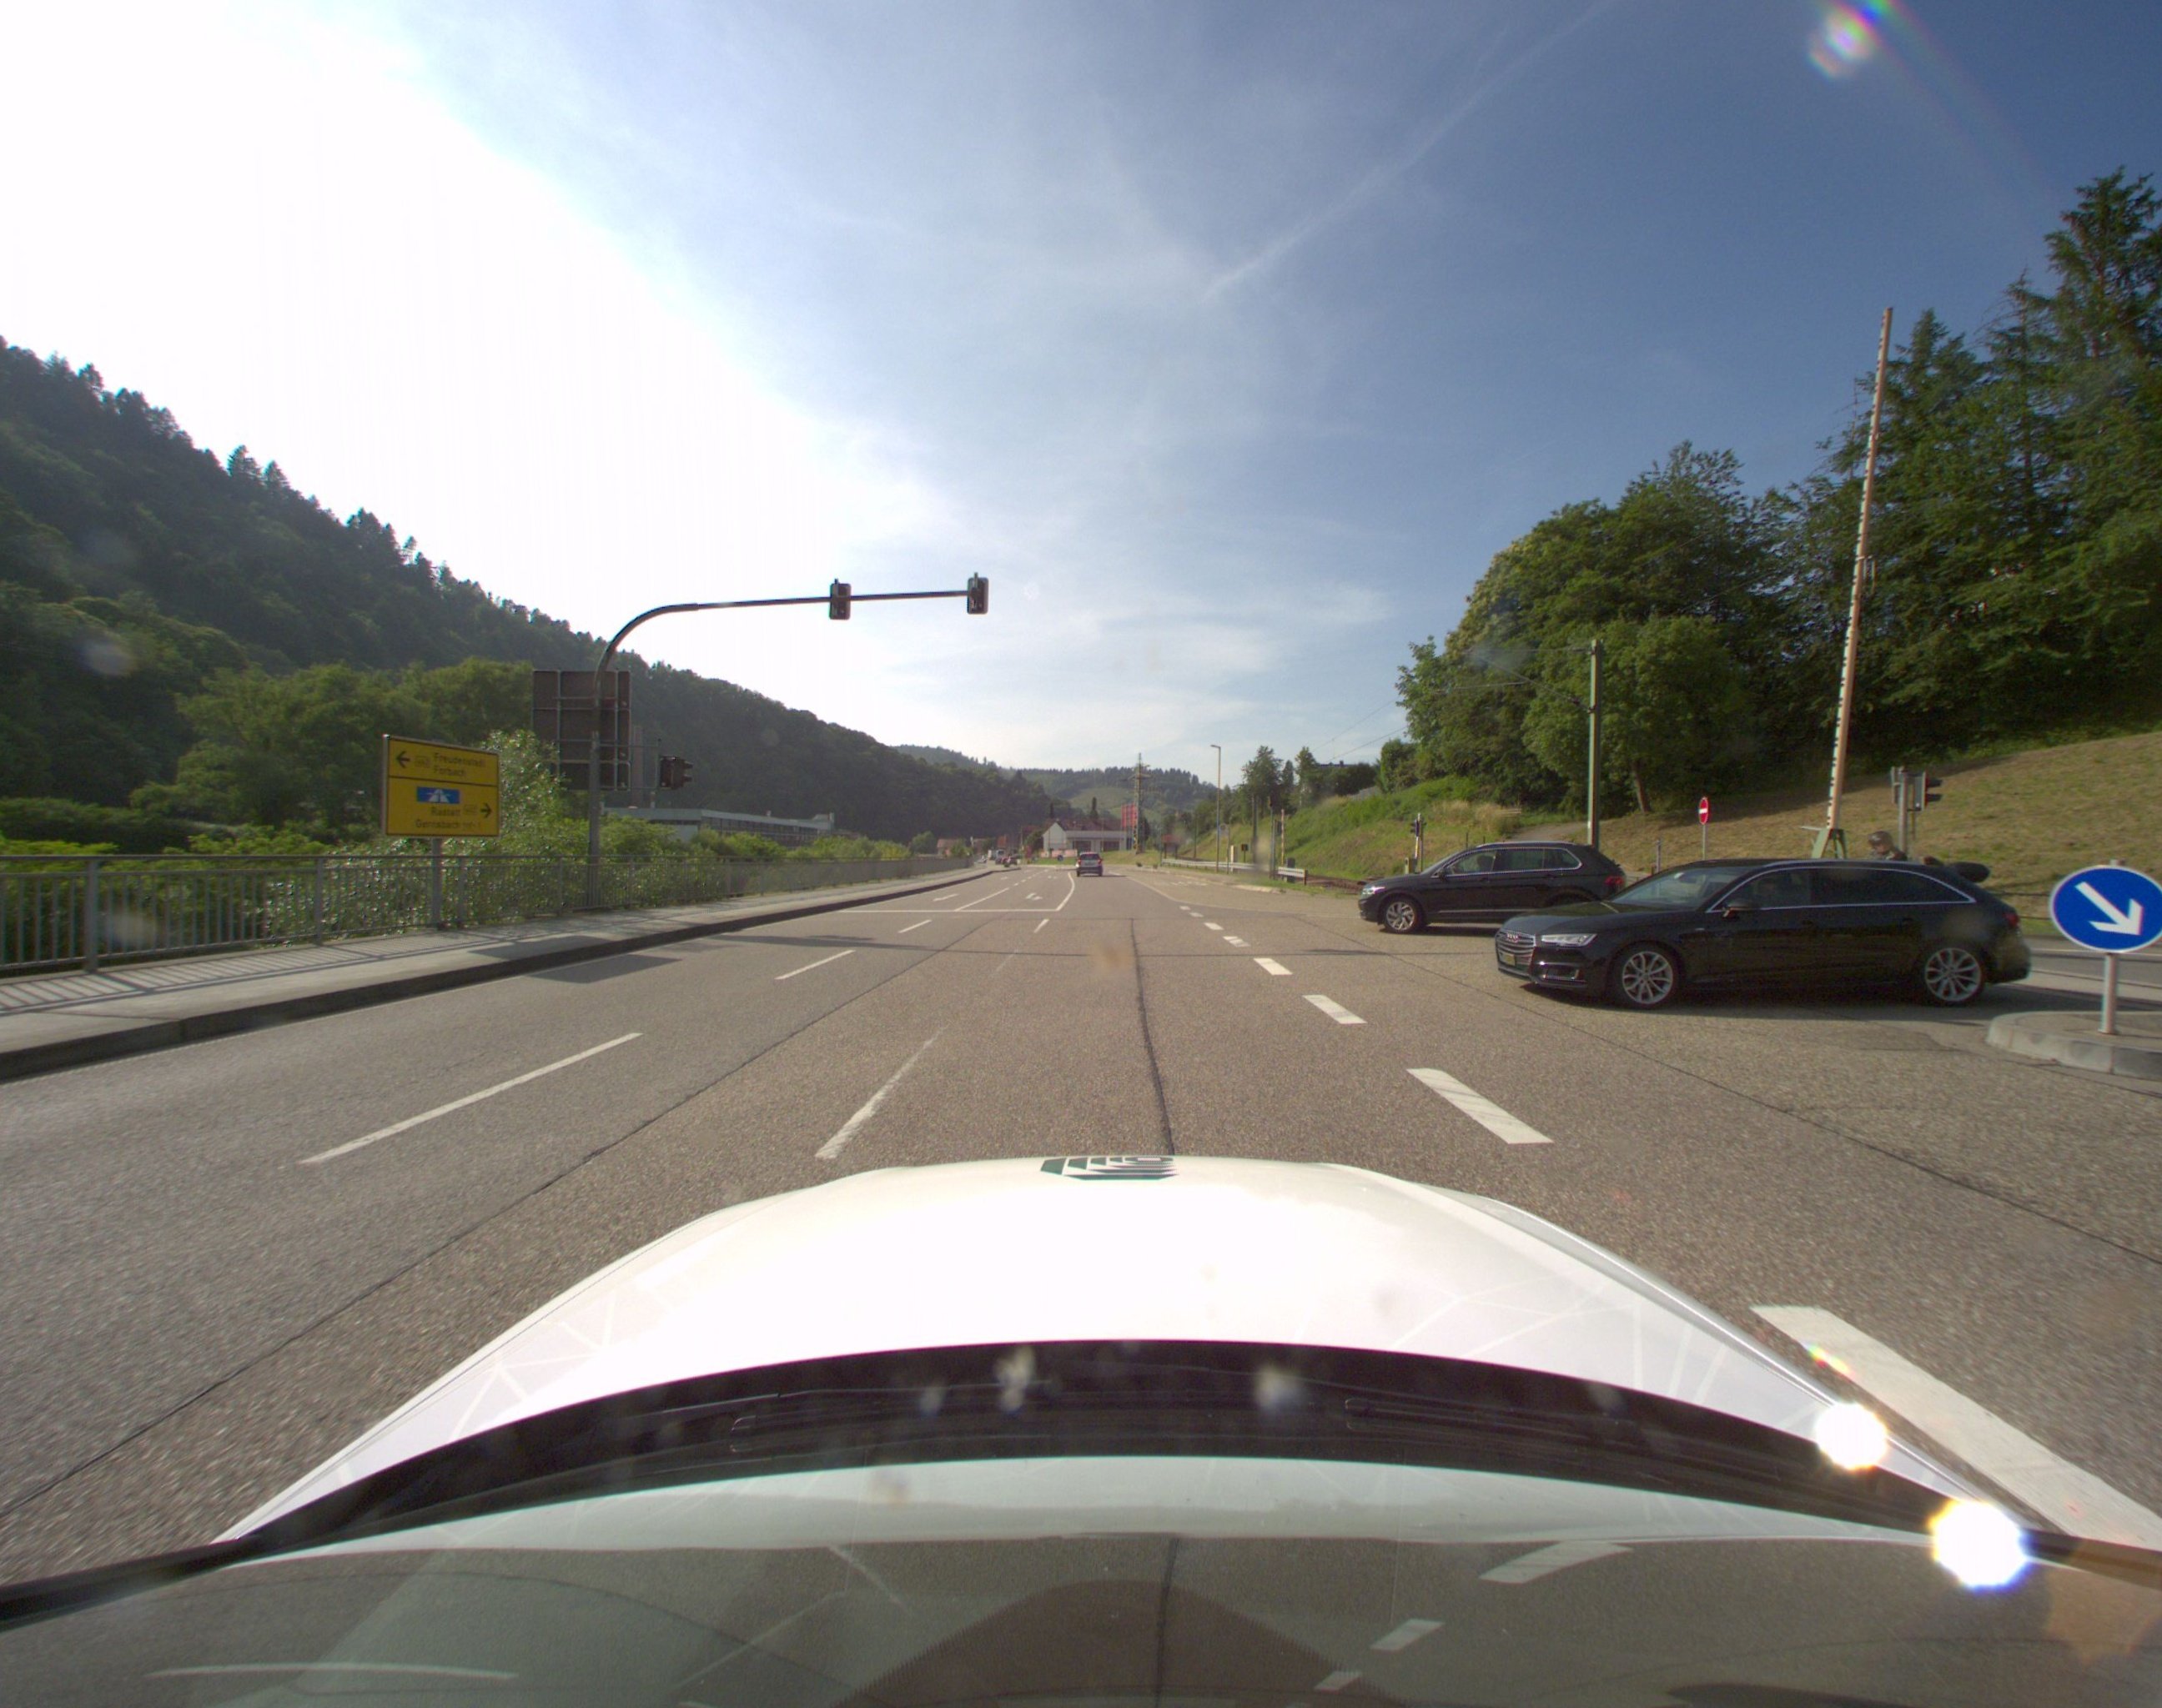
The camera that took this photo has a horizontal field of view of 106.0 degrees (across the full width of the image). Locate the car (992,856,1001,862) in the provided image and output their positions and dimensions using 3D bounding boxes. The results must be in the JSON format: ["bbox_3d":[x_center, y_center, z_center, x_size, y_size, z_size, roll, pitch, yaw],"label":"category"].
[{"bbox_3d":[-20.181,1.210,194.598,1.457,1.435,2.918,1,1,-18],"label":"car"}]

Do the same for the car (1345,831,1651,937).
[{"bbox_3d":[7.435,0.473,14.800,4.681,1.659,1.943,0,0,32],"label":"car"}]

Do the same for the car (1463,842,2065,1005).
[{"bbox_3d":[6.798,0.660,8.562,4.706,1.470,1.843,-1,0,3],"label":"car"}]

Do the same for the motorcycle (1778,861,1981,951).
[{"bbox_3d":[12.199,0.762,12.538,2.076,1.254,0.803,1,1,18],"label":"motorcycle"}]

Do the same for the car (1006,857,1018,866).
[{"bbox_3d":[-12.871,1.387,151.809,1.457,1.435,2.919,1,1,-17],"label":"car"}]

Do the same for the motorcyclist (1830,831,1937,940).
[{"bbox_3d":[12.282,0.456,12.499,0.899,1.596,0.769,1,0,17],"label":"motorcyclist"}]

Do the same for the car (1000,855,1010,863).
[{"bbox_3d":[-15.678,0.982,167.038,1.457,1.435,2.918,1,1,-18],"label":"car"}]

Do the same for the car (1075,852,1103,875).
[{"bbox_3d":[0.517,0.650,56.533,1.855,1.544,4.372,1,-1,0],"label":"car"}]
